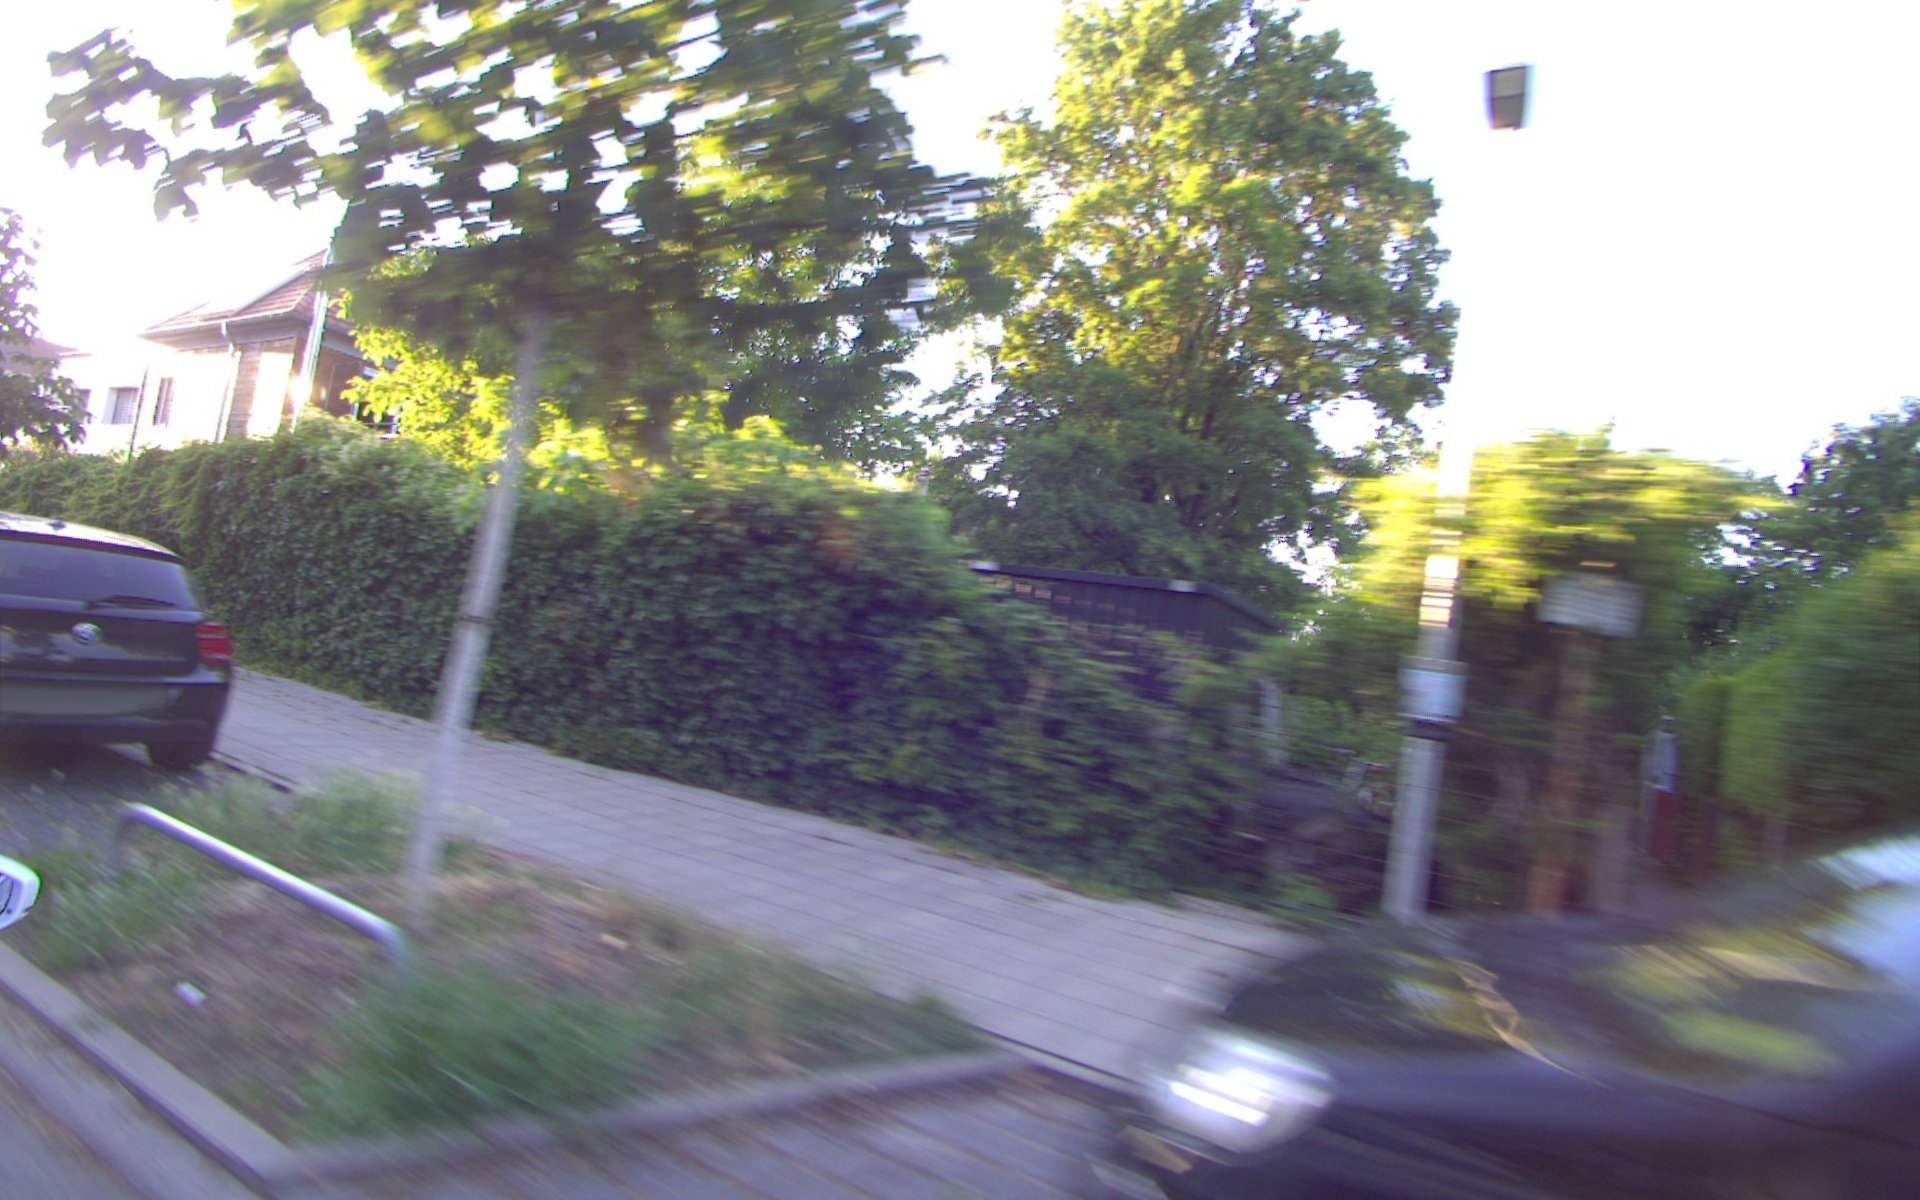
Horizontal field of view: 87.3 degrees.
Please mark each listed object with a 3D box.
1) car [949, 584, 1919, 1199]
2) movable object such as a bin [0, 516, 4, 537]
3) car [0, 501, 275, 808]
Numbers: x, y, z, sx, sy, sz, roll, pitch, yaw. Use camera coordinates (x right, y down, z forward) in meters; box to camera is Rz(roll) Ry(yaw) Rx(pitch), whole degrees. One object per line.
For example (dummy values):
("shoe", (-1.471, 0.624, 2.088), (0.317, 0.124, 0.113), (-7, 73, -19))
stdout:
("car", (1.869, 1.000, 1.447), (3.438, 1.526, 1.581), (7, -2, 31))
("movable object such as a bin", (-31.576, -2.303, 32.630), (0.678, 0.969, 0.579), (8, -2, 35))
("car", (-6.320, 0.111, 6.376), (4.125, 1.526, 1.696), (7, -3, 34))
